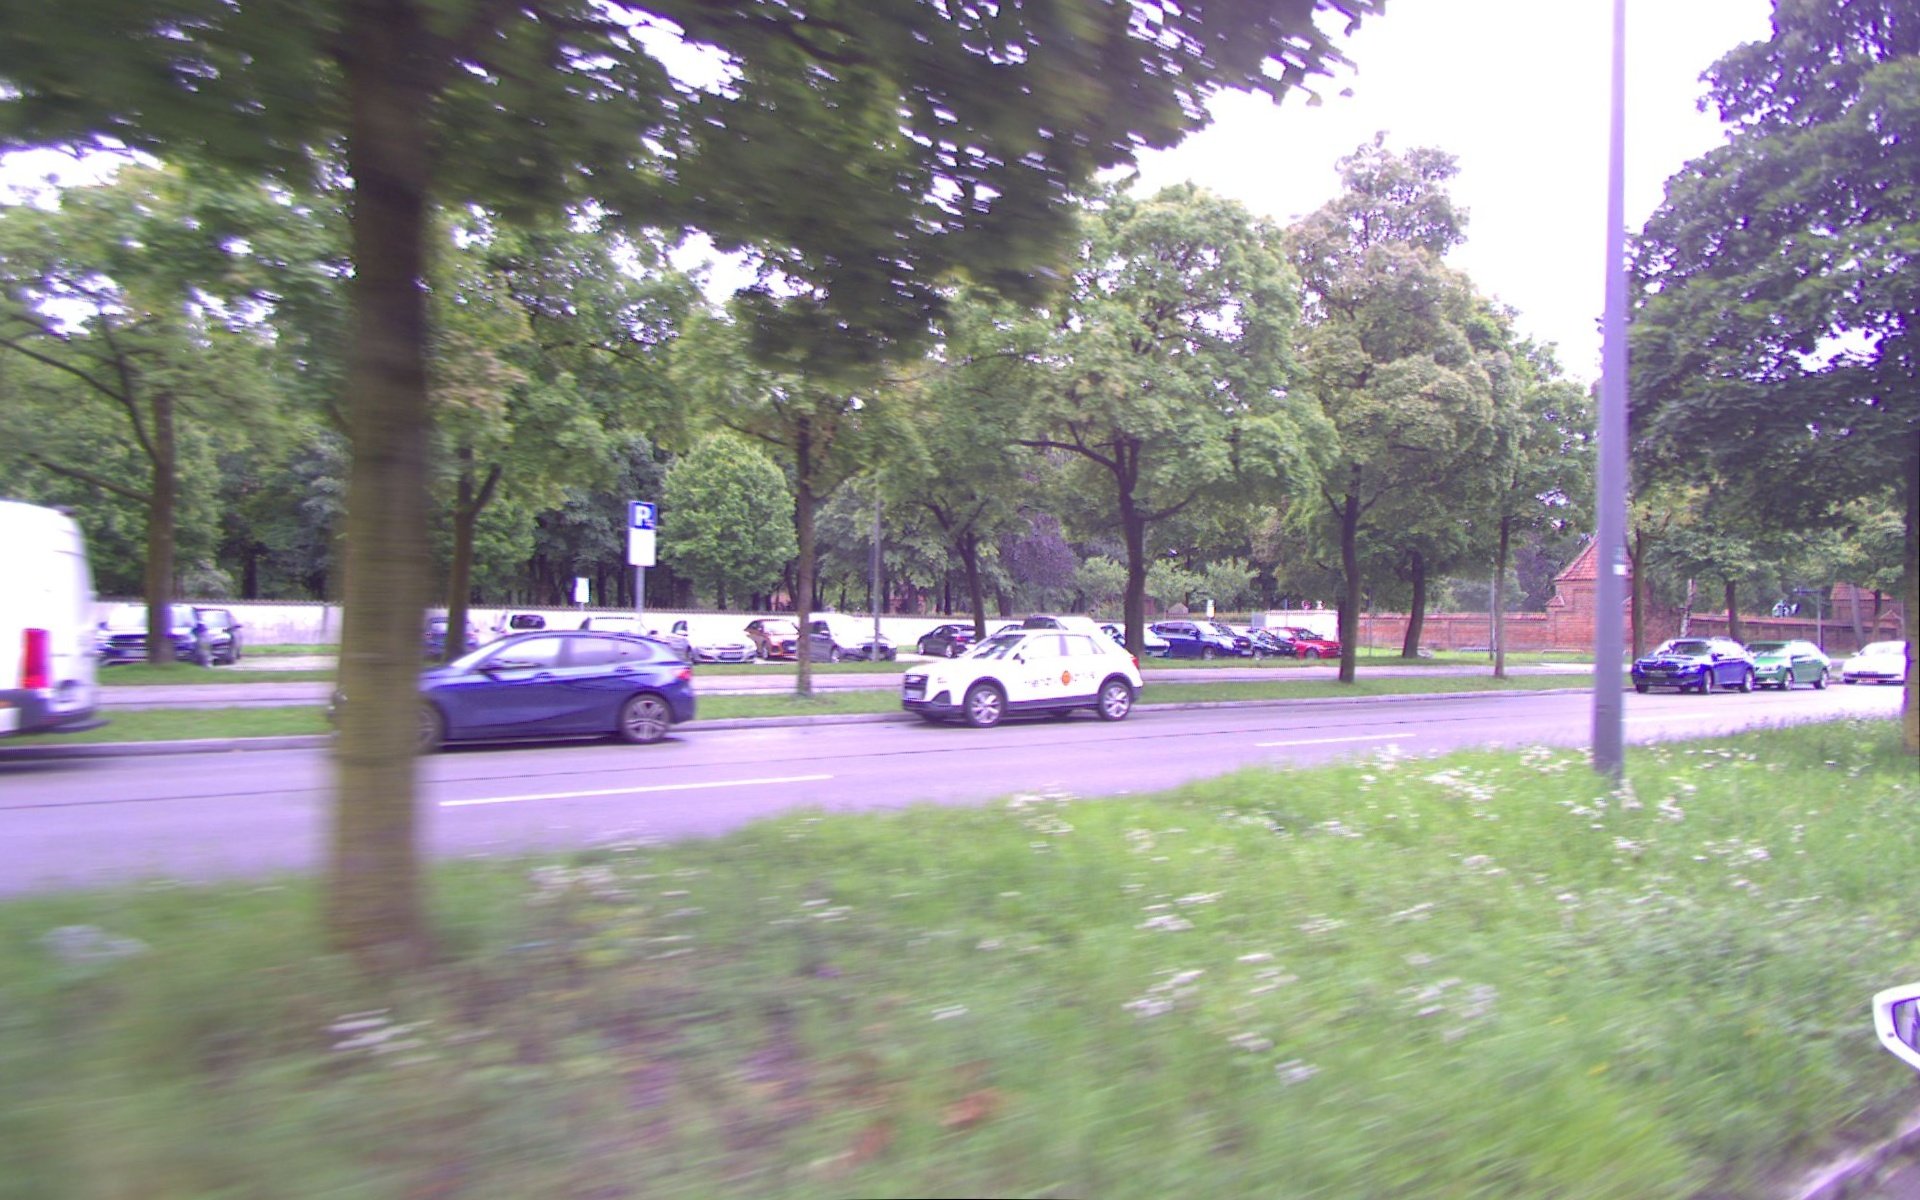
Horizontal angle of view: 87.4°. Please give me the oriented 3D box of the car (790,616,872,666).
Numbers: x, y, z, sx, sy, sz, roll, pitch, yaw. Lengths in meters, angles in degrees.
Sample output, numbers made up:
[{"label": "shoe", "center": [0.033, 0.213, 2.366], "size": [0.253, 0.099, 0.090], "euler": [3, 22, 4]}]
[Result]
[{"label": "car", "center": [-5.693, 1.754, 43.819], "size": [1.977, 2.061, 4.484], "euler": [1, -1, -30]}]

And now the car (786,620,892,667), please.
[{"label": "car", "center": [-3.605, 1.223, 29.315], "size": [1.760, 1.225, 4.159], "euler": [1, -1, -27]}]

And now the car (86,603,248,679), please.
[{"label": "car", "center": [-16.741, 0.821, 21.427], "size": [1.790, 1.457, 3.975], "euler": [1, -1, -25]}]

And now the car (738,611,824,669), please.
[{"label": "car", "center": [-7.304, 1.580, 40.698], "size": [1.977, 2.061, 4.483], "euler": [1, 1, -30]}]

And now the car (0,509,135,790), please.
[{"label": "car", "center": [-12.146, 0.451, 9.001], "size": [7.022, 2.678, 2.130], "euler": [1, -2, -31]}]

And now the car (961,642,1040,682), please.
[{"label": "car", "center": [1.835, 2.828, 46.457], "size": [1.794, 1.557, 3.967], "euler": [1, 1, -30]}]

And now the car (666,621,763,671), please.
[{"label": "car", "center": [-6.772, 1.221, 27.432], "size": [1.760, 1.225, 3.973], "euler": [1, -1, -27]}]

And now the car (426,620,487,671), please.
[{"label": "car", "center": [-17.321, 1.530, 34.675], "size": [1.746, 1.617, 3.975], "euler": [1, -1, -25]}]

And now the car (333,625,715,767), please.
[{"label": "car", "center": [-5.493, 1.153, 12.848], "size": [4.205, 1.510, 1.847], "euler": [3, -1, -32]}]

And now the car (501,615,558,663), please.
[{"label": "car", "center": [-15.520, 1.352, 36.113], "size": [1.746, 1.617, 3.975], "euler": [1, -1, -25]}]

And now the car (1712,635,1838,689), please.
[{"label": "car", "center": [25.167, 1.891, 30.998], "size": [4.265, 1.557, 1.631], "euler": [1, -3, -31]}]

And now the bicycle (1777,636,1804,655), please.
[{"label": "bicycle", "center": [43.734, 2.395, 52.899], "size": [1.602, 0.949, 0.651], "euler": [2, -1, -33]}]

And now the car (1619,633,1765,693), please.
[{"label": "car", "center": [20.539, 1.732, 28.155], "size": [4.267, 1.557, 1.876], "euler": [2, -3, -33]}]

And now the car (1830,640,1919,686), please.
[{"label": "car", "center": [33.161, 2.224, 35.808], "size": [4.258, 1.557, 1.755], "euler": [1, -3, -27]}]

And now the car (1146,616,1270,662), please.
[{"label": "car", "center": [8.982, 1.384, 36.741], "size": [1.977, 1.524, 4.328], "euler": [1, -1, -30]}]

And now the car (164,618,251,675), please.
[{"label": "car", "center": [-23.384, 1.406, 31.331], "size": [1.750, 1.617, 3.966], "euler": [1, -1, -31]}]

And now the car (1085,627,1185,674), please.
[{"label": "car", "center": [6.198, 1.760, 36.014], "size": [1.968, 1.524, 3.986], "euler": [1, -1, -17]}]

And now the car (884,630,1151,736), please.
[{"label": "car", "center": [0.989, 1.325, 16.676], "size": [4.096, 1.510, 1.847], "euler": [3, -1, -32]}]

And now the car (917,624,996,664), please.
[{"label": "car", "center": [-0.205, 1.937, 45.189], "size": [1.794, 1.557, 3.967], "euler": [1, 1, -30]}]

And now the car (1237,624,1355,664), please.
[{"label": "car", "center": [13.199, 1.694, 39.692], "size": [1.738, 1.410, 4.393], "euler": [1, -1, -29]}]

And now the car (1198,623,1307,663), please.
[{"label": "car", "center": [11.161, 1.612, 38.607], "size": [1.738, 1.410, 3.959], "euler": [1, -1, -29]}]
